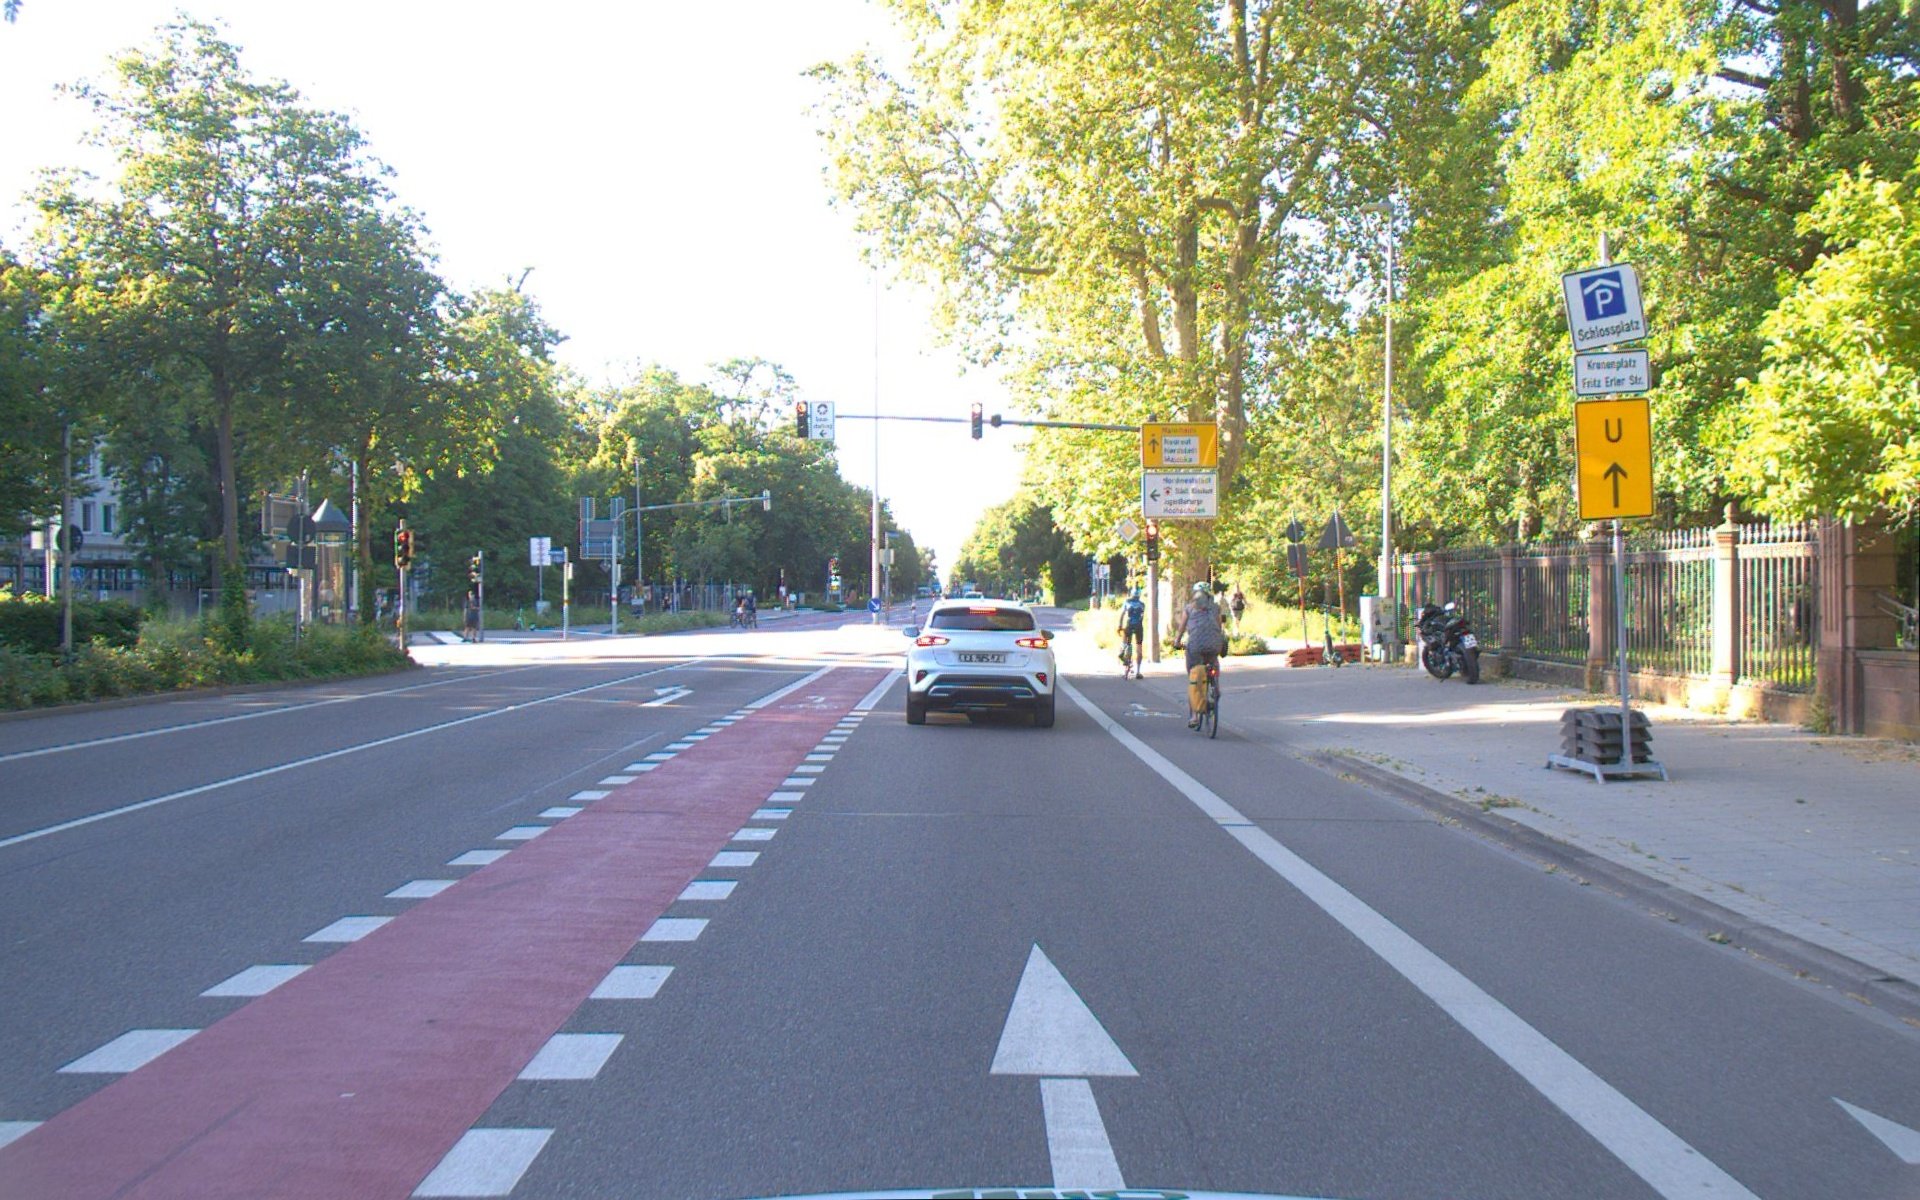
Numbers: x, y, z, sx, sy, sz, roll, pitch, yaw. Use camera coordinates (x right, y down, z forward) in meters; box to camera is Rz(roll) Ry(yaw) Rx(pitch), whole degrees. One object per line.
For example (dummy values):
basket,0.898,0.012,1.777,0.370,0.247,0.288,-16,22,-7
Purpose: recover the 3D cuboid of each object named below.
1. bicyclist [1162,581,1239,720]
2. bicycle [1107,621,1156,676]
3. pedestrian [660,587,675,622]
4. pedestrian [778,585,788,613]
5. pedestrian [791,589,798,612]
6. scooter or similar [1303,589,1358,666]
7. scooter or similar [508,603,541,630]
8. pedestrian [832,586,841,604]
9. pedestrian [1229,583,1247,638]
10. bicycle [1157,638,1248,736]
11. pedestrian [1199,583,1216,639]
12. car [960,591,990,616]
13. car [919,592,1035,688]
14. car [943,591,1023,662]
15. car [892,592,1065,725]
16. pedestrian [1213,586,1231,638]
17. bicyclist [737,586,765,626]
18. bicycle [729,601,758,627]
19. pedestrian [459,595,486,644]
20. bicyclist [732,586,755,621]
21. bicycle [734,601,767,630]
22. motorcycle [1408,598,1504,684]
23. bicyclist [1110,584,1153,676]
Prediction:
bicyclist,2.777,0.570,19.180,0.732,1.564,0.969,0,0,-1
bicycle,3.377,0.939,32.716,0.738,1.044,1.869,0,-1,-1
pedestrian,-16.163,0.255,91.314,0.638,1.921,0.663,-1,0,2
pedestrian,-12.976,-0.097,121.333,0.643,2.049,0.832,-1,0,-3
pedestrian,-12.352,0.040,123.488,0.509,1.735,0.528,-1,0,-5
scooter or similar,7.089,0.504,31.710,0.555,1.407,1.855,-1,0,-2
scooter or similar,-19.109,0.723,72.637,0.500,1.164,1.701,-1,0,20
pedestrian,-15.220,-0.574,204.436,0.857,2.187,1.104,-1,0,8
pedestrian,9.440,0.359,56.237,0.472,1.823,0.432,-3,3,6
bicycle,2.781,0.977,19.138,0.738,1.044,1.869,0,-1,-1
pedestrian,8.308,0.356,55.514,0.472,1.823,0.432,-3,3,6
car,1.008,0.241,111.590,1.700,1.573,4.003,-1,1,5
car,0.254,0.655,29.446,1.890,1.560,3.999,-1,0,-1
car,0.509,0.604,40.401,1.814,1.619,3.999,-1,0,-1
car,0.188,0.662,20.953,1.953,1.478,3.999,-1,0,-1
pedestrian,8.833,0.405,55.783,0.472,1.668,0.432,-3,3,6
bicyclist,-9.695,0.268,76.744,1.070,1.785,1.097,-1,0,1
bicycle,-10.704,0.690,81.836,0.944,1.201,2.951,-1,0,1
pedestrian,-18.745,0.739,63.602,0.673,1.823,0.769,-3,1,-1
bicyclist,-10.722,0.170,81.855,0.936,1.735,1.232,-1,0,1
bicycle,-9.694,0.689,76.630,1.079,1.277,2.779,-1,0,1
motorcycle,7.446,0.582,24.940,0.648,1.188,2.327,-3,0,-1
bicyclist,3.387,0.581,32.695,0.734,1.780,0.843,0,0,-1
